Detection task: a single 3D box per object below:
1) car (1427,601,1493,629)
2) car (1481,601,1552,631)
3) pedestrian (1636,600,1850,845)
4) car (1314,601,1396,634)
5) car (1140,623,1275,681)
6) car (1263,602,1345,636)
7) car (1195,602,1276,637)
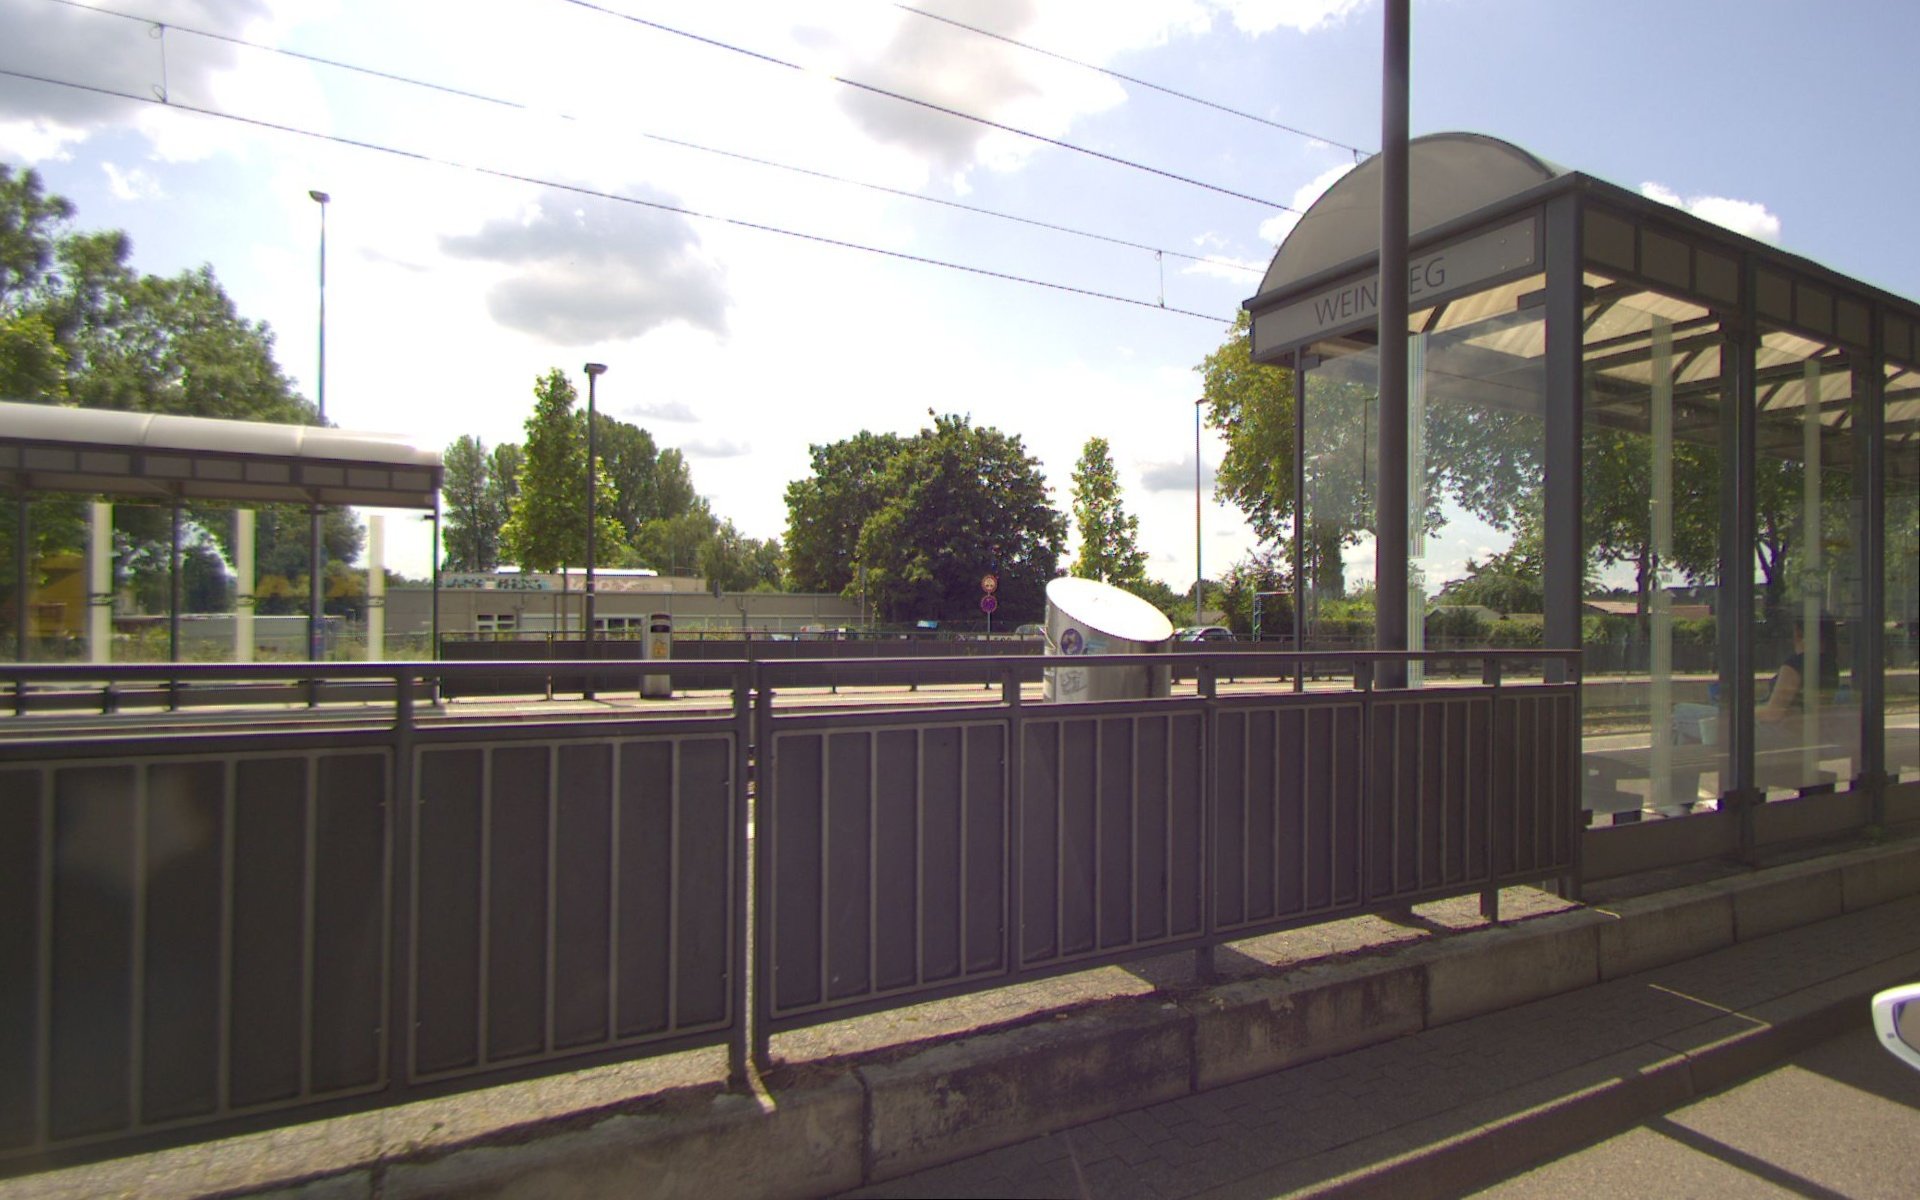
[{"bbox_3d":[31.141,0.910,62.544,3.880,1.684,1.895,0,0,-29],"label":"car"},{"bbox_3d":[32.704,0.907,59.018,3.880,1.684,1.895,0,0,-29],"label":"car"},{"bbox_3d":[4.206,0.612,5.418,0.634,1.206,0.690,1,1,-27],"label":"pedestrian"},{"bbox_3d":[21.102,0.925,53.779,1.884,1.684,3.902,0,0,-26],"label":"car"},{"bbox_3d":[7.619,1.544,30.898,3.950,1.606,1.702,0,0,-28],"label":"car"},{"bbox_3d":[17.904,0.933,52.392,1.884,1.684,3.902,0,0,-26],"label":"car"},{"bbox_3d":[13.902,0.940,50.845,1.884,1.684,3.902,0,0,-26],"label":"car"}]
